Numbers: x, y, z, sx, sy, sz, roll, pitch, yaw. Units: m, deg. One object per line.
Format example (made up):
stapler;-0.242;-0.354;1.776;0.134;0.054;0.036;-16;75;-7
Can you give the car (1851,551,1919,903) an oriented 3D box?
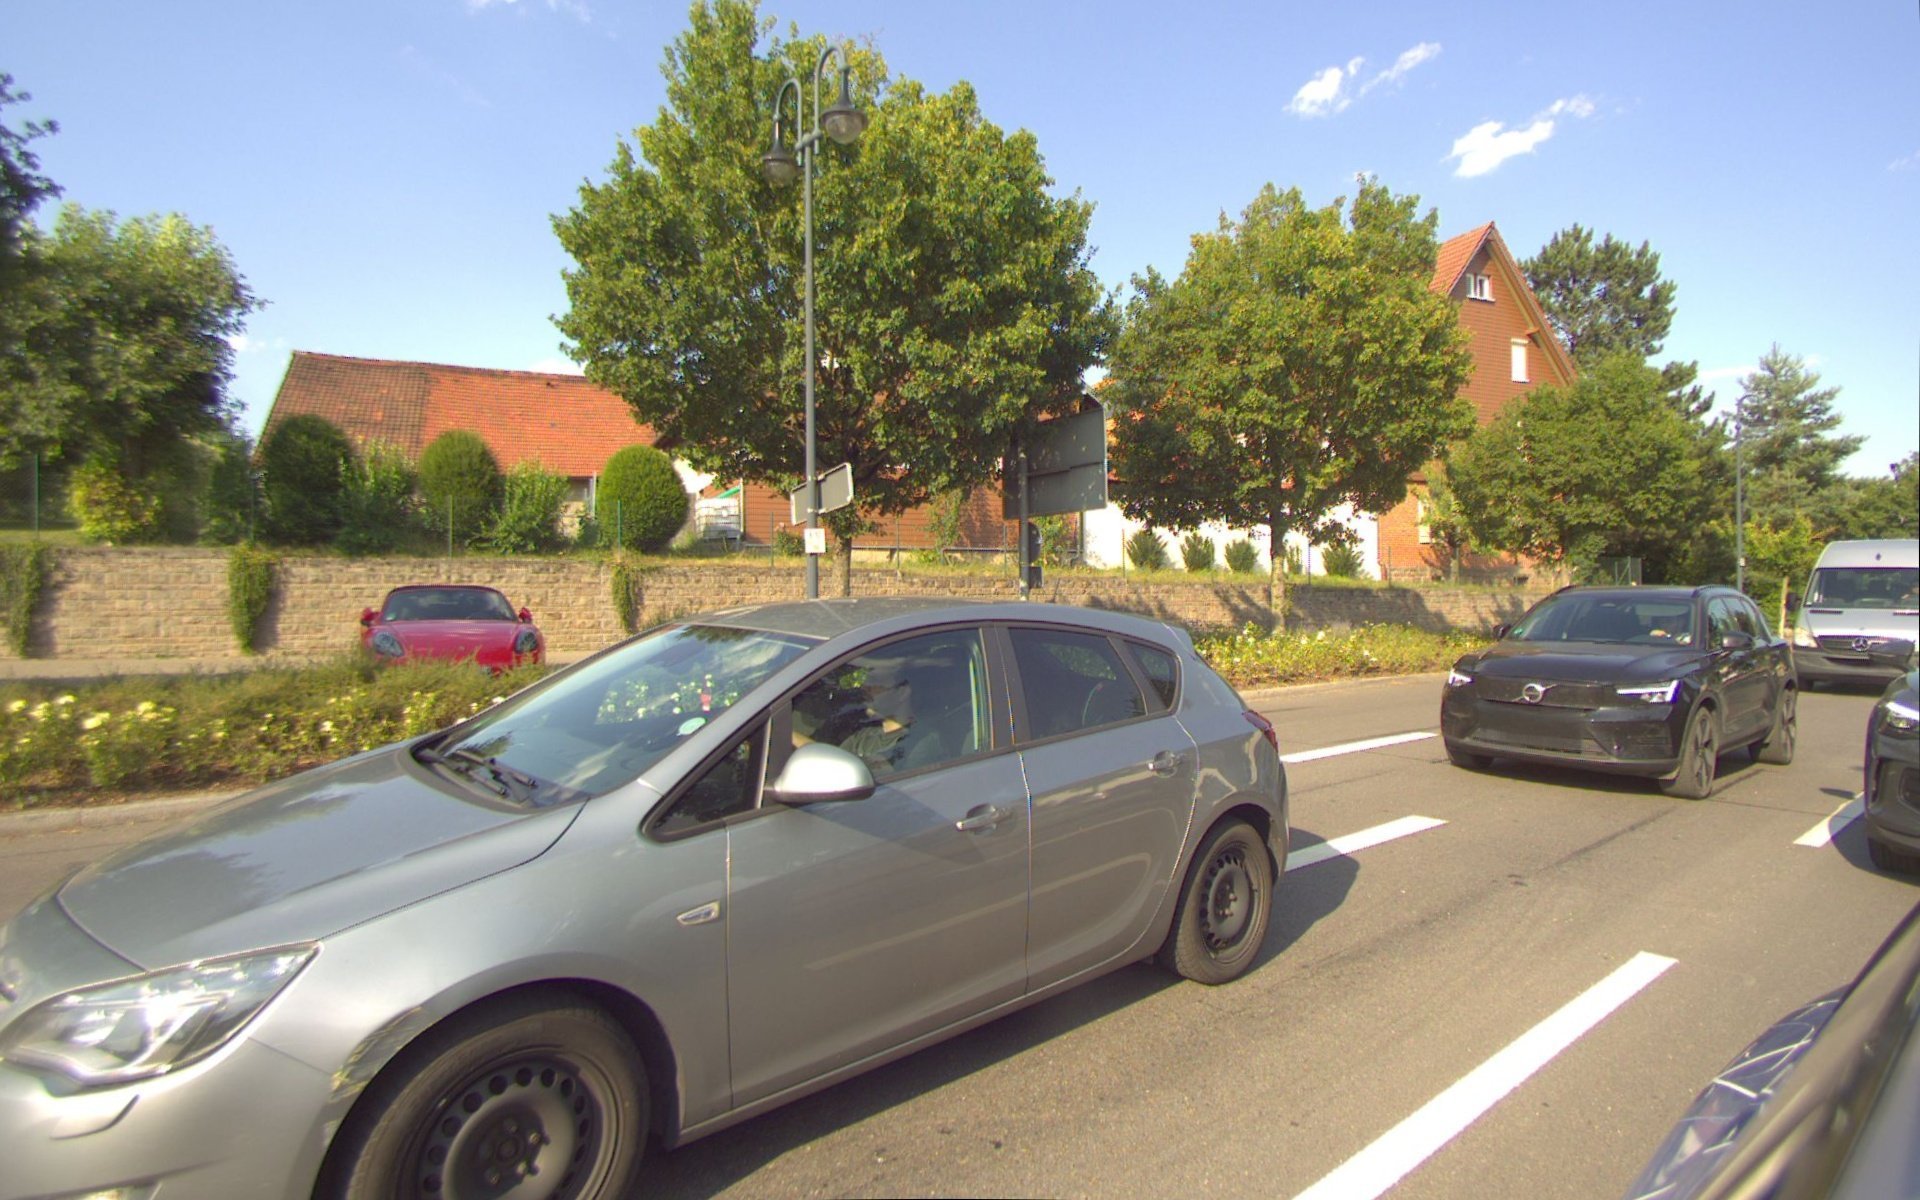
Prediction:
car;6.795;0.602;5.794;4.646;1.677;1.893;0;0;-40

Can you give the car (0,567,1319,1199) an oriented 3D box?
car;-0.625;0.667;3.454;4.095;1.460;1.746;0;0;-41

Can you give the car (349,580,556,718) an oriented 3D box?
car;-5.849;0.450;11.691;1.816;1.288;4.005;0;0;-28

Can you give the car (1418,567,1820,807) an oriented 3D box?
car;5.915;0.578;8.912;4.054;1.629;1.885;0;0;-40

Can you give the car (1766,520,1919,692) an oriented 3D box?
car;16.280;0.079;17.627;6.082;2.579;2.369;0;0;-40
